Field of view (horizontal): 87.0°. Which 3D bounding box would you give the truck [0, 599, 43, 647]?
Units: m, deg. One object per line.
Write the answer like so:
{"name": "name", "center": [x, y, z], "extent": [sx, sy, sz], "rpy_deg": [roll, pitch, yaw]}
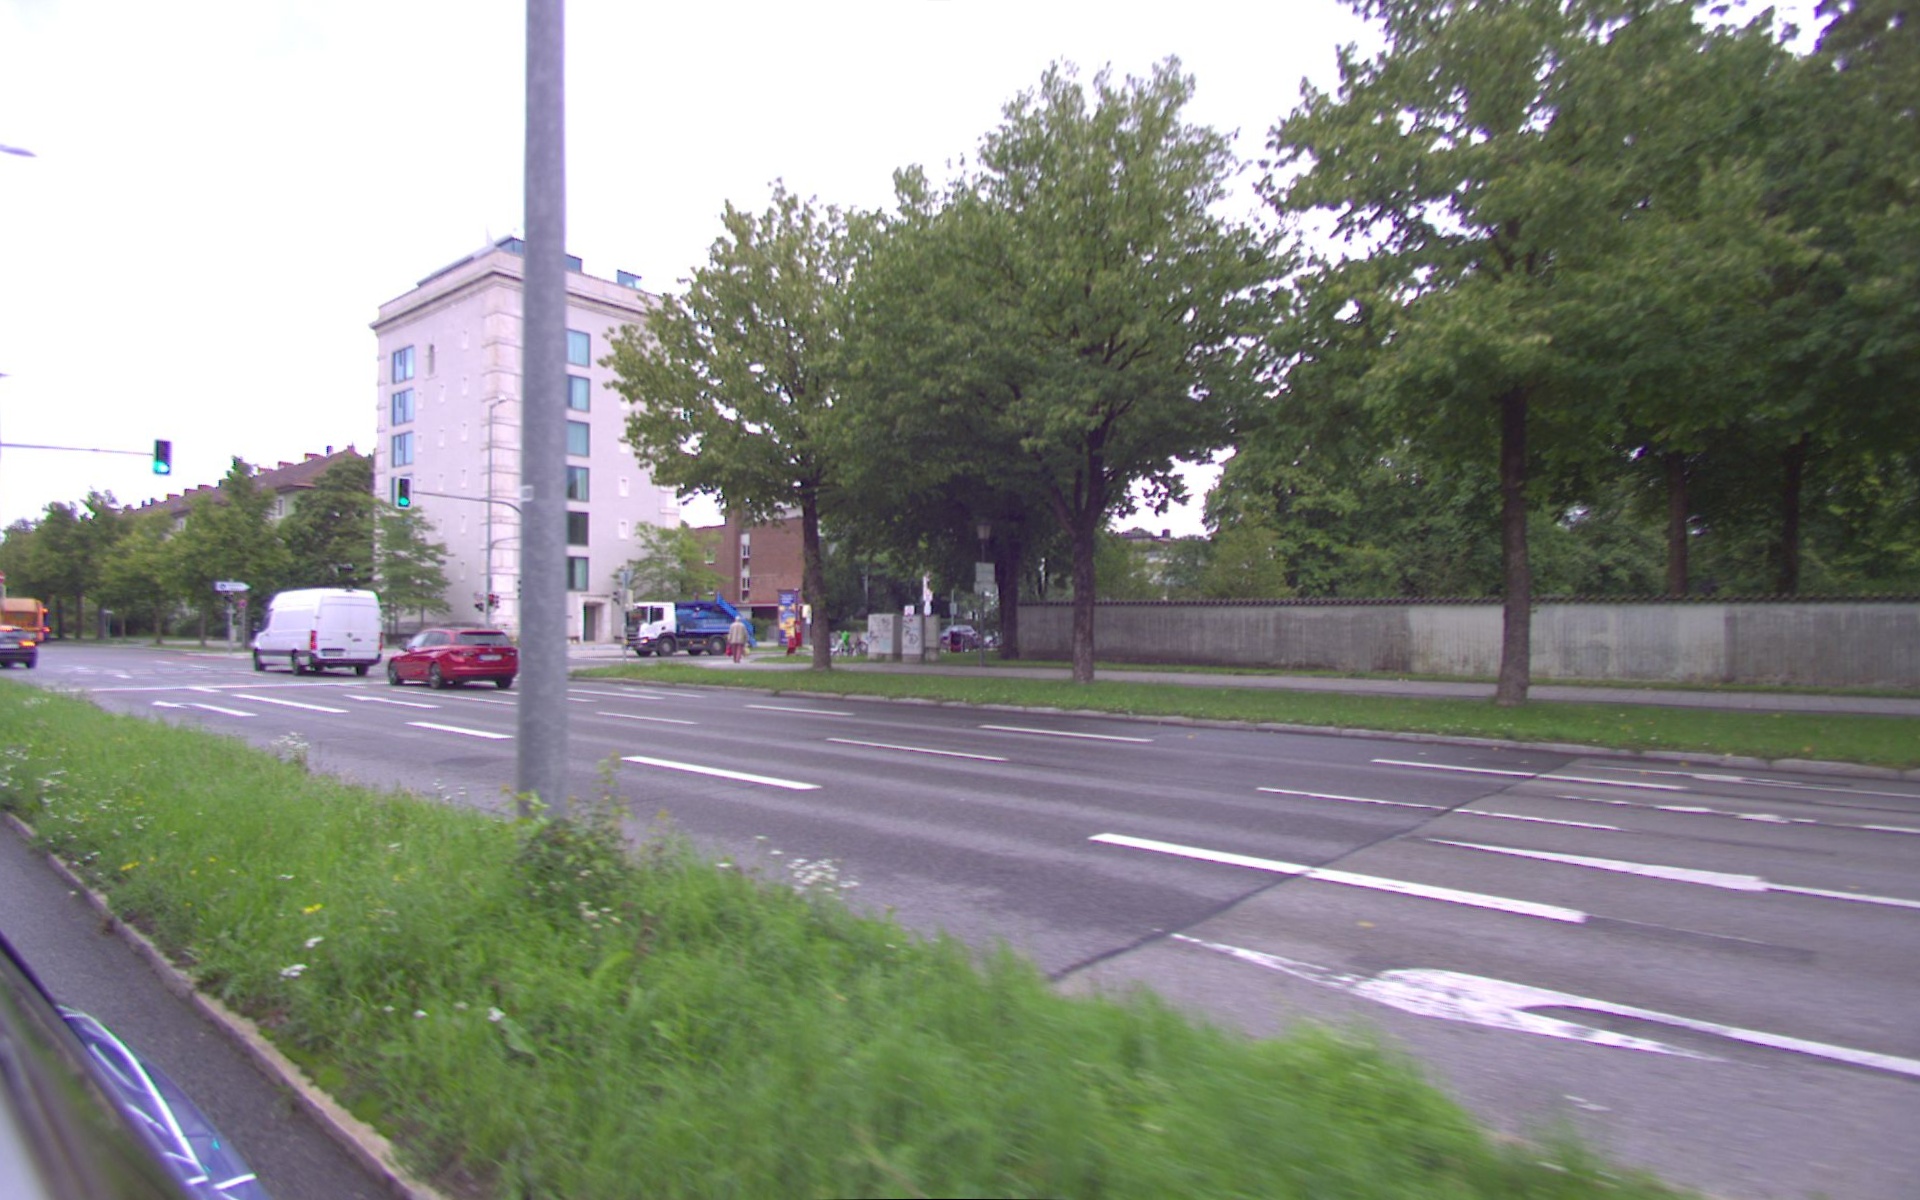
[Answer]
{"name": "truck", "center": [-69.376, 1.671, 73.855], "extent": [7.261, 3.382, 2.752], "rpy_deg": [-1, -2, 41]}

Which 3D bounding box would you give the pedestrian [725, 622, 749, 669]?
{"name": "pedestrian", "center": [-8.373, 1.688, 37.987], "extent": [0.516, 1.753, 0.701], "rpy_deg": [-1, -2, 36]}

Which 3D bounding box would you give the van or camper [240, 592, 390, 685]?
{"name": "van or camper", "center": [-20.702, 1.233, 32.304], "extent": [6.948, 2.667, 2.155], "rpy_deg": [-2, -4, 42]}

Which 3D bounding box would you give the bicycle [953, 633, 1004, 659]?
{"name": "bicycle", "center": [0.895, 2.192, 48.659], "extent": [2.494, 1.195, 0.827], "rpy_deg": [-1, -2, 40]}

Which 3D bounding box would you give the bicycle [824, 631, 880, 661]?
{"name": "bicycle", "center": [-4.544, 1.916, 42.298], "extent": [2.494, 1.195, 0.827], "rpy_deg": [-1, -2, 40]}

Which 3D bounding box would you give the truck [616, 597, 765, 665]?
{"name": "truck", "center": [-14.764, 1.672, 55.943], "extent": [2.773, 3.515, 7.711], "rpy_deg": [-2, -2, 43]}

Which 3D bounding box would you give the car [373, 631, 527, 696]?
{"name": "car", "center": [-12.700, 1.533, 25.068], "extent": [4.655, 1.463, 1.725], "rpy_deg": [-2, -4, 41]}

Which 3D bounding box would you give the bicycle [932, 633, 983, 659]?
{"name": "bicycle", "center": [-0.126, 2.168, 48.034], "extent": [2.494, 1.195, 0.827], "rpy_deg": [-1, -2, 40]}

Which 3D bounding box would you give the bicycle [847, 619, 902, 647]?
{"name": "bicycle", "center": [-3.697, 1.408, 43.457], "extent": [2.494, 1.195, 0.827], "rpy_deg": [-1, -2, 40]}

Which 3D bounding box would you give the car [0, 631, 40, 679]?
{"name": "car", "center": [-32.056, 1.790, 33.260], "extent": [3.766, 1.498, 1.628], "rpy_deg": [-1, -2, 30]}

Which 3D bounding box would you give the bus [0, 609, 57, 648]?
{"name": "bus", "center": [-83.843, 2.579, 90.542], "extent": [12.037, 3.369, 2.718], "rpy_deg": [-1, -3, 40]}
